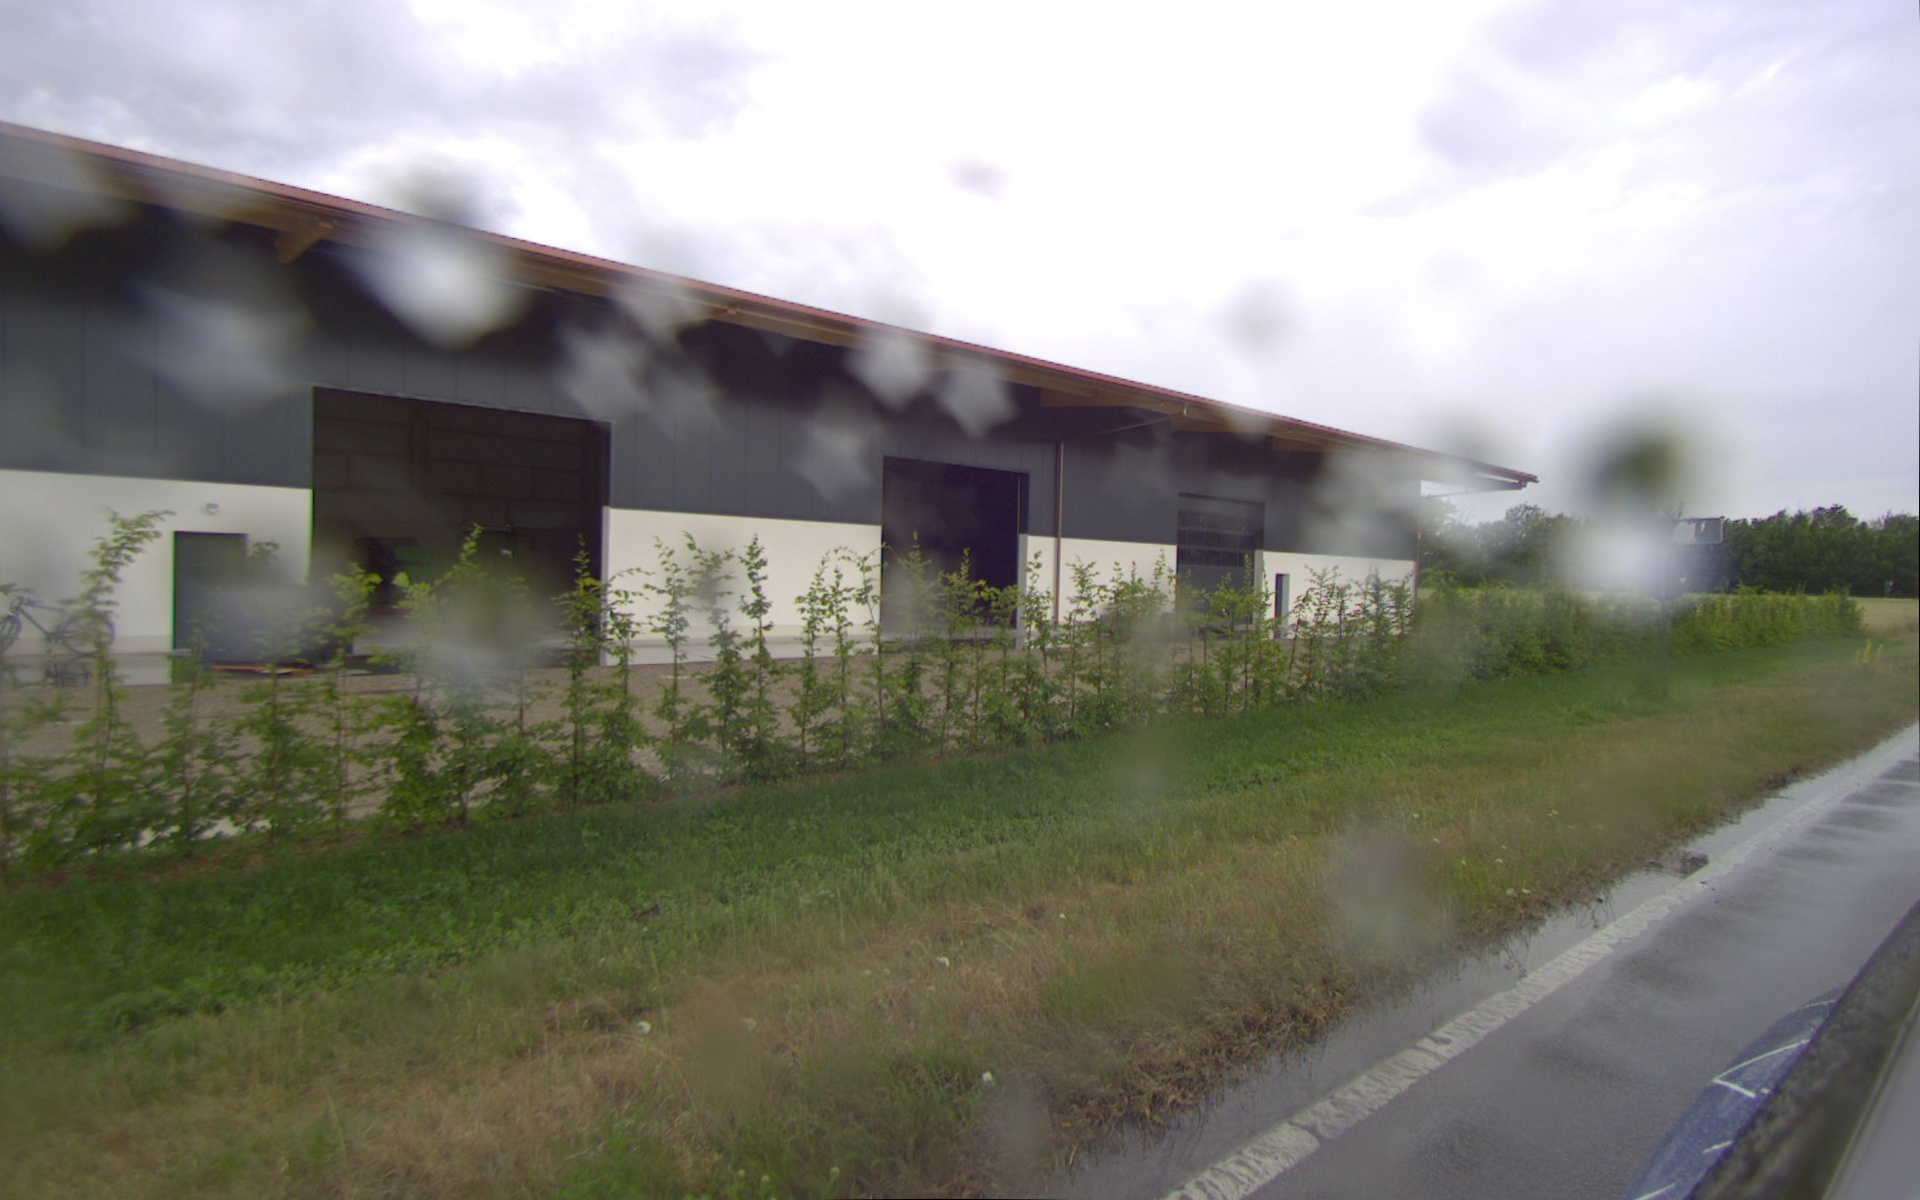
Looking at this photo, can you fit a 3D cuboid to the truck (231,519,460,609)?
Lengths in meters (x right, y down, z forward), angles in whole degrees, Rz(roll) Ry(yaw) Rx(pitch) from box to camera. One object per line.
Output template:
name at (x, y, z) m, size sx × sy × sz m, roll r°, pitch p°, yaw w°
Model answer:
truck at (-19.580, -1.096, 32.443) m, size 6.046 × 2.639 × 2.122 m, roll 0°, pitch 2°, yaw -40°

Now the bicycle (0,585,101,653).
bicycle at (-15.388, 0.304, 16.856) m, size 1.631 × 1.085 × 0.391 m, roll 0°, pitch 2°, yaw -40°
